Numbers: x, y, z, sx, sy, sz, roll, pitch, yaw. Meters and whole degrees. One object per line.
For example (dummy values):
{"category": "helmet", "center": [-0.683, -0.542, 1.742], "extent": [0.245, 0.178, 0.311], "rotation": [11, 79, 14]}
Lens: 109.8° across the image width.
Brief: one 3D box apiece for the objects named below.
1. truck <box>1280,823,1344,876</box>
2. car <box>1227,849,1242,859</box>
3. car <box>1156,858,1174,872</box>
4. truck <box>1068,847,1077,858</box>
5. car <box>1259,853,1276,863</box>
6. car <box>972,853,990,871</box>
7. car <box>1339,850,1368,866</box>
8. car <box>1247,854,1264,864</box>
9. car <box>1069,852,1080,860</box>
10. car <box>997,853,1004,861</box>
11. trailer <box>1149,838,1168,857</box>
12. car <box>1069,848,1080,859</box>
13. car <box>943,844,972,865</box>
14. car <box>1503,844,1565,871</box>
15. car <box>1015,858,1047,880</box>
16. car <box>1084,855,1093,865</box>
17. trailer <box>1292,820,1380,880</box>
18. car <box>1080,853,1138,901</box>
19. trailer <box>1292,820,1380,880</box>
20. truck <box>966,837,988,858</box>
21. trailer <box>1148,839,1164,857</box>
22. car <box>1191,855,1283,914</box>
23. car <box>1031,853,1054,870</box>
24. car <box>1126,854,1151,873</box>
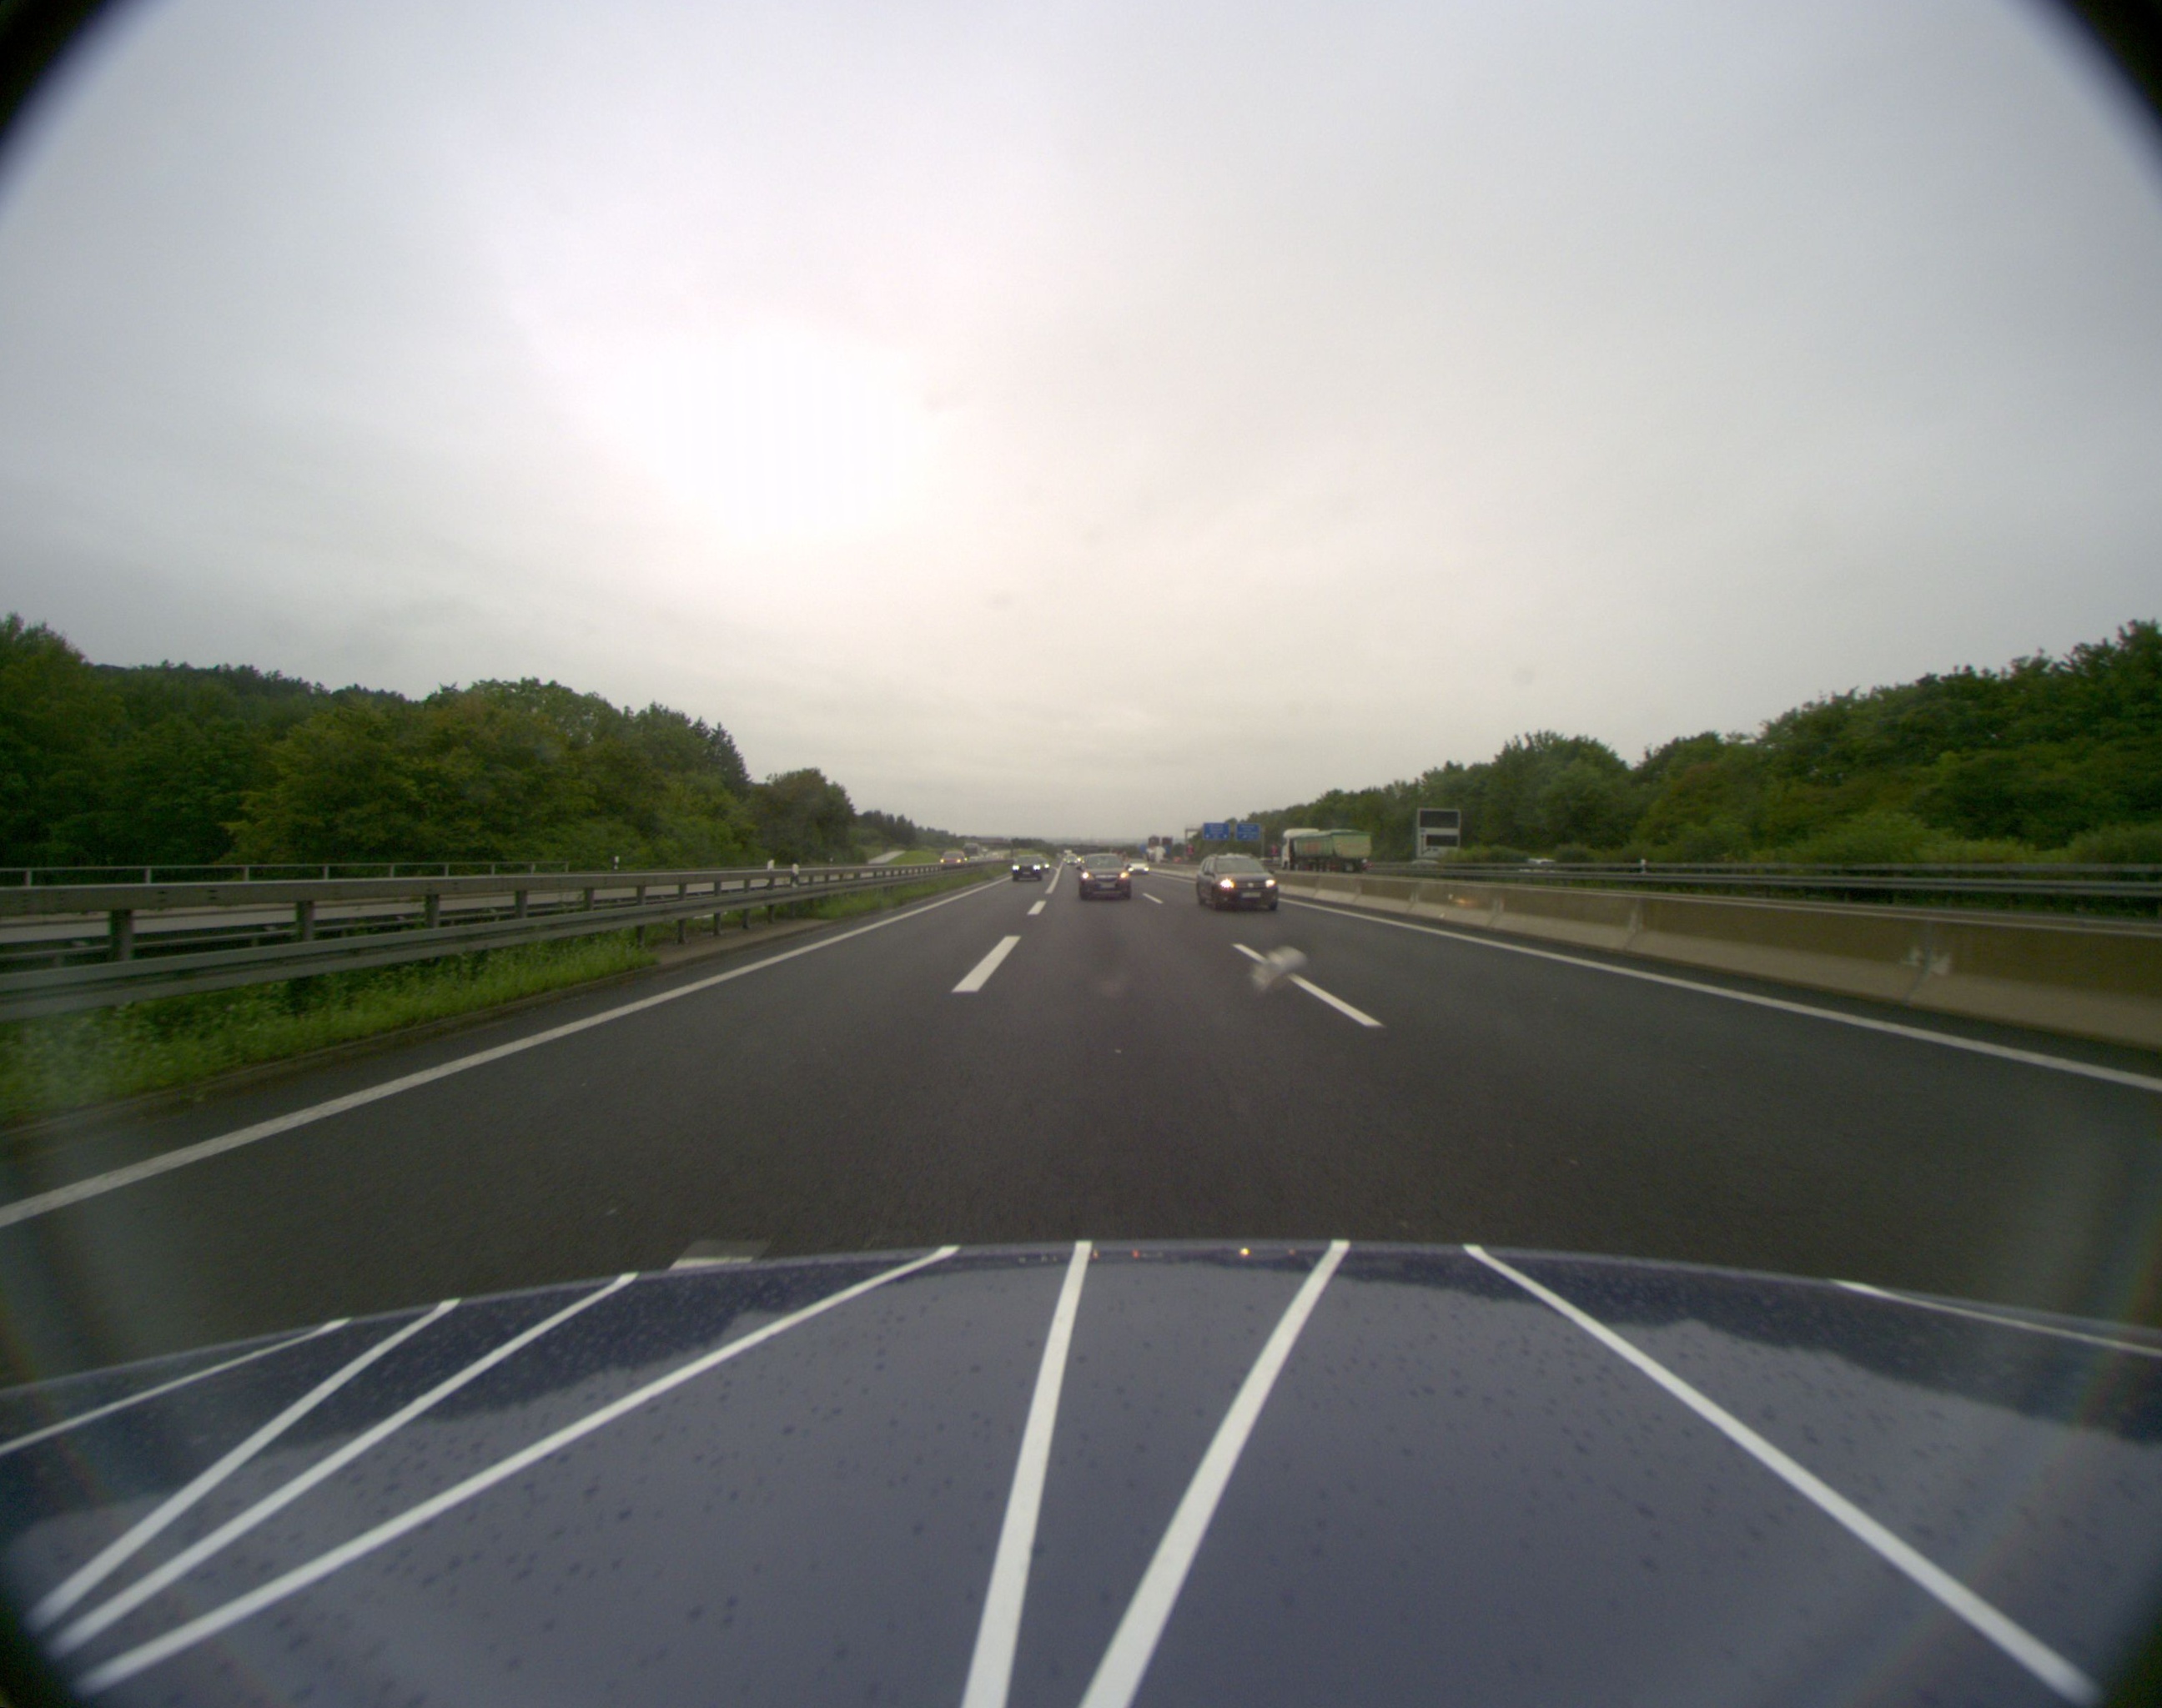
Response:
{"category": "truck", "center": [17.215, -0.354, 56.977], "extent": [2.894, 3.727, 5.943], "rotation": [-1, 1, -1]}
{"category": "car", "center": [30.685, -0.044, 151.943], "extent": [1.878, 2.002, 5.298], "rotation": [-1, 1, -1]}
{"category": "car", "center": [12.069, 1.509, 109.148], "extent": [1.900, 1.865, 4.540], "rotation": [-1, 1, -3]}
{"category": "truck", "center": [-3.006, -0.535, 264.430], "extent": [2.798, 3.878, 10.027], "rotation": [-1, 1, 0]}
{"category": "car", "center": [32.022, 0.656, 130.439], "extent": [1.709, 1.759, 3.998], "rotation": [-1, 1, -5]}
{"category": "car", "center": [-11.882, 0.954, 90.710], "extent": [1.752, 2.002, 4.497], "rotation": [-1, 1, -2]}
{"category": "car", "center": [31.117, 0.472, 86.802], "extent": [1.805, 1.776, 4.412], "rotation": [0, 0, 1]}
{"category": "car", "center": [27.680, 0.847, 120.538], "extent": [1.708, 1.499, 3.999], "rotation": [-1, 1, -1]}
{"category": "car", "center": [-1.284, 0.387, 145.688], "extent": [1.919, 1.481, 4.565], "rotation": [-1, 1, -2]}
{"category": "car", "center": [-20.949, 0.770, 197.110], "extent": [1.753, 2.002, 4.494], "rotation": [-1, 1, -8]}
{"category": "trailer", "center": [15.590, -1.250, 153.100], "extent": [2.643, 3.715, 10.809], "rotation": [-1, 1, 0]}
{"category": "car", "center": [-1.314, -0.139, 151.826], "extent": [2.016, 1.994, 4.565], "rotation": [-1, 1, -2]}
{"category": "car", "center": [-11.883, 0.031, 73.290], "extent": [2.130, 2.002, 5.076], "rotation": [-1, 1, -2]}
{"category": "car", "center": [31.774, 0.239, 53.465], "extent": [1.805, 1.776, 4.412], "rotation": [0, 0, 1]}
{"category": "car", "center": [-3.361, 0.983, 51.820], "extent": [1.867, 1.349, 4.566], "rotation": [-1, 1, -1]}
{"category": "car", "center": [1.704, 1.397, 174.426], "extent": [2.100, 2.148, 4.406], "rotation": [-1, 1, -1]}
{"category": "trailer", "center": [17.263, -0.312, 52.199], "extent": [2.910, 3.727, 8.926], "rotation": [-1, 1, -1]}
{"category": "car", "center": [0.959, 0.785, 27.769], "extent": [1.813, 1.571, 3.834], "rotation": [-1, 1, -2]}
{"category": "trailer", "center": [17.263, -0.312, 52.199], "extent": [2.910, 3.727, 8.926], "rotation": [-1, 1, -1]}
{"category": "truck", "center": [-19.735, -1.246, 145.245], "extent": [2.799, 3.878, 10.026], "rotation": [-1, 1, 0]}
{"category": "trailer", "center": [15.592, -1.292, 157.766], "extent": [2.643, 3.694, 6.491], "rotation": [-1, 1, 0]}
{"category": "car", "center": [4.370, 0.791, 21.943], "extent": [1.726, 1.481, 4.566], "rotation": [-1, 1, 0]}
{"category": "car", "center": [-3.641, 0.701, 72.477], "extent": [1.886, 1.519, 3.999], "rotation": [-1, 1, 0]}
{"category": "car", "center": [4.811, 0.768, 63.730], "extent": [1.726, 1.481, 4.566], "rotation": [-1, 1, 0]}
